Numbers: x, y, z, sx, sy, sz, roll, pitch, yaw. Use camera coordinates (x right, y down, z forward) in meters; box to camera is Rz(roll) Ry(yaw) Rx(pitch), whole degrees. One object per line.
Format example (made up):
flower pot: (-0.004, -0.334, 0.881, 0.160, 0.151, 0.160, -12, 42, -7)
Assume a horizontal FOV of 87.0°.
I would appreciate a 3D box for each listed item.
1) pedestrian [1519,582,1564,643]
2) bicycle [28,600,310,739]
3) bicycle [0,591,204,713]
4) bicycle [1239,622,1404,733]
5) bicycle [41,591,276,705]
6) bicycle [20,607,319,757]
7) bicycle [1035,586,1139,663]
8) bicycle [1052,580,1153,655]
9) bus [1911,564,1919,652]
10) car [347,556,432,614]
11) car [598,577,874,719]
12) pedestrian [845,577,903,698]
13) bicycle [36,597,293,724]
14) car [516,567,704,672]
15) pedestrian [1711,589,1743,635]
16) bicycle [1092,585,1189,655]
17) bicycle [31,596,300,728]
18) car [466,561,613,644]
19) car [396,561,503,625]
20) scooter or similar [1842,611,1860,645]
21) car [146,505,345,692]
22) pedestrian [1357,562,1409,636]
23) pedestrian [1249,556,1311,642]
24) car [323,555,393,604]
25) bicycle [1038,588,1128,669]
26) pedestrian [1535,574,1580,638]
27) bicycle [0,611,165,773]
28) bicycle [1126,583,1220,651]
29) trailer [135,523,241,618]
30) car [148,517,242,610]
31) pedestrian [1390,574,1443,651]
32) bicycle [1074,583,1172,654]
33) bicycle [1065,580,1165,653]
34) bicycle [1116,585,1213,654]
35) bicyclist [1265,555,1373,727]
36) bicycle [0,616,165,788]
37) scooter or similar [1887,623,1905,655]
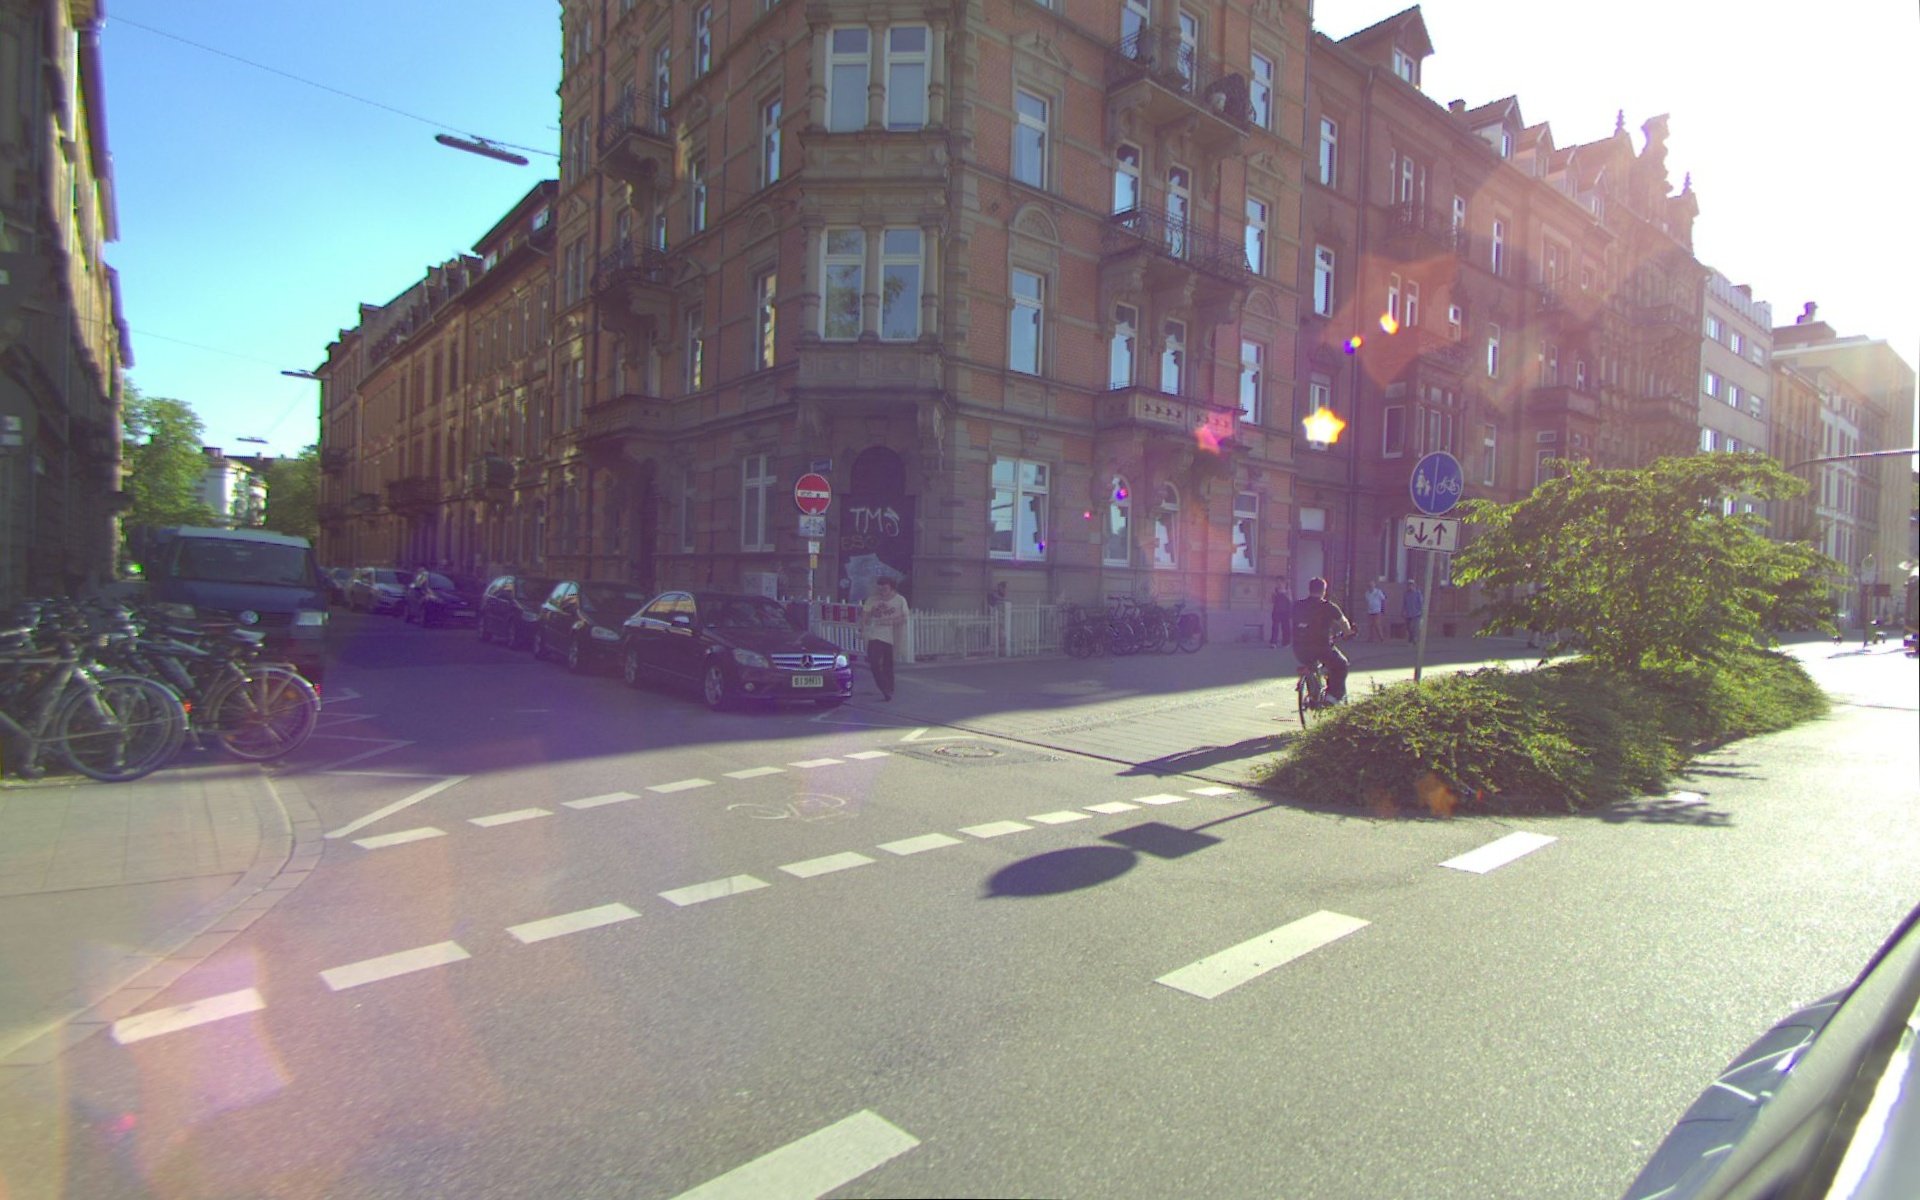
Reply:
pedestrian: (16.421, 0.349, 28.584, 1.116, 1.676, 0.704, 1, 1, -39)
bicycle: (-6.679, 0.596, 8.639, 1.788, 1.061, 0.519, 5, 0, -40)
bicycle: (-8.291, 0.497, 9.537, 1.788, 1.061, 0.519, 5, 0, -40)
bicycle: (4.144, 0.823, 11.493, 2.318, 1.060, 0.643, 0, 3, -40)
bicycle: (-8.147, 0.506, 10.365, 1.788, 1.061, 0.519, 5, 0, -40)
bicycle: (-6.278, 0.655, 8.139, 1.788, 1.061, 0.519, 5, 0, -40)
bicycle: (2.291, 0.422, 18.481, 1.881, 1.254, 0.484, 4, 3, 39)
bicycle: (2.647, 0.302, 18.956, 1.881, 1.254, 0.484, 4, 3, 39)
bus: (40.593, 0.468, 39.975, 12.314, 3.220, 2.722, 1, 2, -39)
car: (-18.488, -0.528, 32.691, 1.778, 1.608, 4.264, 5, -1, -37)
car: (-3.103, 0.540, 13.351, 1.779, 1.433, 4.262, 5, 0, -39)
pedestrian: (-1.142, 0.482, 13.598, 0.649, 1.553, 0.702, 2, 1, 2)
bicycle: (-7.376, 0.576, 9.471, 1.788, 1.061, 0.519, 5, 0, -40)
car: (-6.045, 0.271, 17.146, 1.778, 1.433, 4.265, 5, -1, -36)
pedestrian: (31.884, 0.496, 42.082, 0.766, 1.856, 0.852, 5, 0, -44)
bicycle: (3.602, 0.368, 20.302, 1.881, 1.254, 0.484, 4, 3, 39)
bicycle: (-7.038, 0.563, 9.058, 1.788, 1.061, 0.519, 5, 0, -40)
car: (-8.895, 0.010, 21.213, 1.778, 1.433, 4.264, 5, -1, -37)
car: (-13.674, -0.215, 26.981, 1.778, 1.433, 4.264, 5, -1, -37)
scooter or similar: (35.317, 1.094, 40.115, 0.430, 1.264, 1.277, 4, 3, 39)
car: (-9.958, -0.040, 13.944, 1.743, 2.151, 4.586, 5, -1, -40)
pedestrian: (11.530, -0.038, 27.582, 1.116, 1.954, 0.824, 1, 1, -39)
pedestrian: (7.454, -0.029, 23.563, 1.116, 1.954, 0.824, 1, 1, -39)
car: (-23.158, -0.812, 38.856, 1.778, 1.608, 4.264, 5, -1, -37)
bicycle: (2.086, 0.441, 17.000, 0.489, 1.254, 1.861, 4, 4, 41)
pedestrian: (18.926, 0.180, 32.048, 1.116, 1.954, 0.824, 1, 1, -39)
bicycle: (-6.693, 0.623, 7.009, 1.788, 1.061, 0.519, 5, 0, -40)
bicycle: (4.417, 0.328, 21.101, 1.881, 1.254, 0.484, 4, 3, 39)
trailer: (-20.465, -0.811, 26.876, 1.963, 2.217, 3.999, 5, 0, -38)
car: (-24.104, -1.191, 31.846, 2.026, 2.550, 5.974, 5, 0, -38)
pedestrian: (12.105, 0.325, 26.833, 1.116, 1.954, 0.824, 1, 1, -39)
bicycle: (3.178, 0.332, 19.909, 1.881, 1.254, 0.484, 4, 3, 39)
bicycle: (2.952, 0.296, 19.444, 1.881, 1.254, 0.484, 4, 3, 39)
bicycle: (4.142, 0.366, 20.598, 1.881, 1.254, 0.484, 4, 3, 39)
bicyclist: (4.039, 0.426, 11.388, 1.033, 1.837, 0.643, 0, 3, -40)
bicycle: (-6.374, 0.652, 6.608, 1.788, 1.061, 0.519, 5, 0, -40)
scooter or similar: (39.312, 1.624, 42.500, 0.431, 1.264, 1.275, 4, 3, 41)
